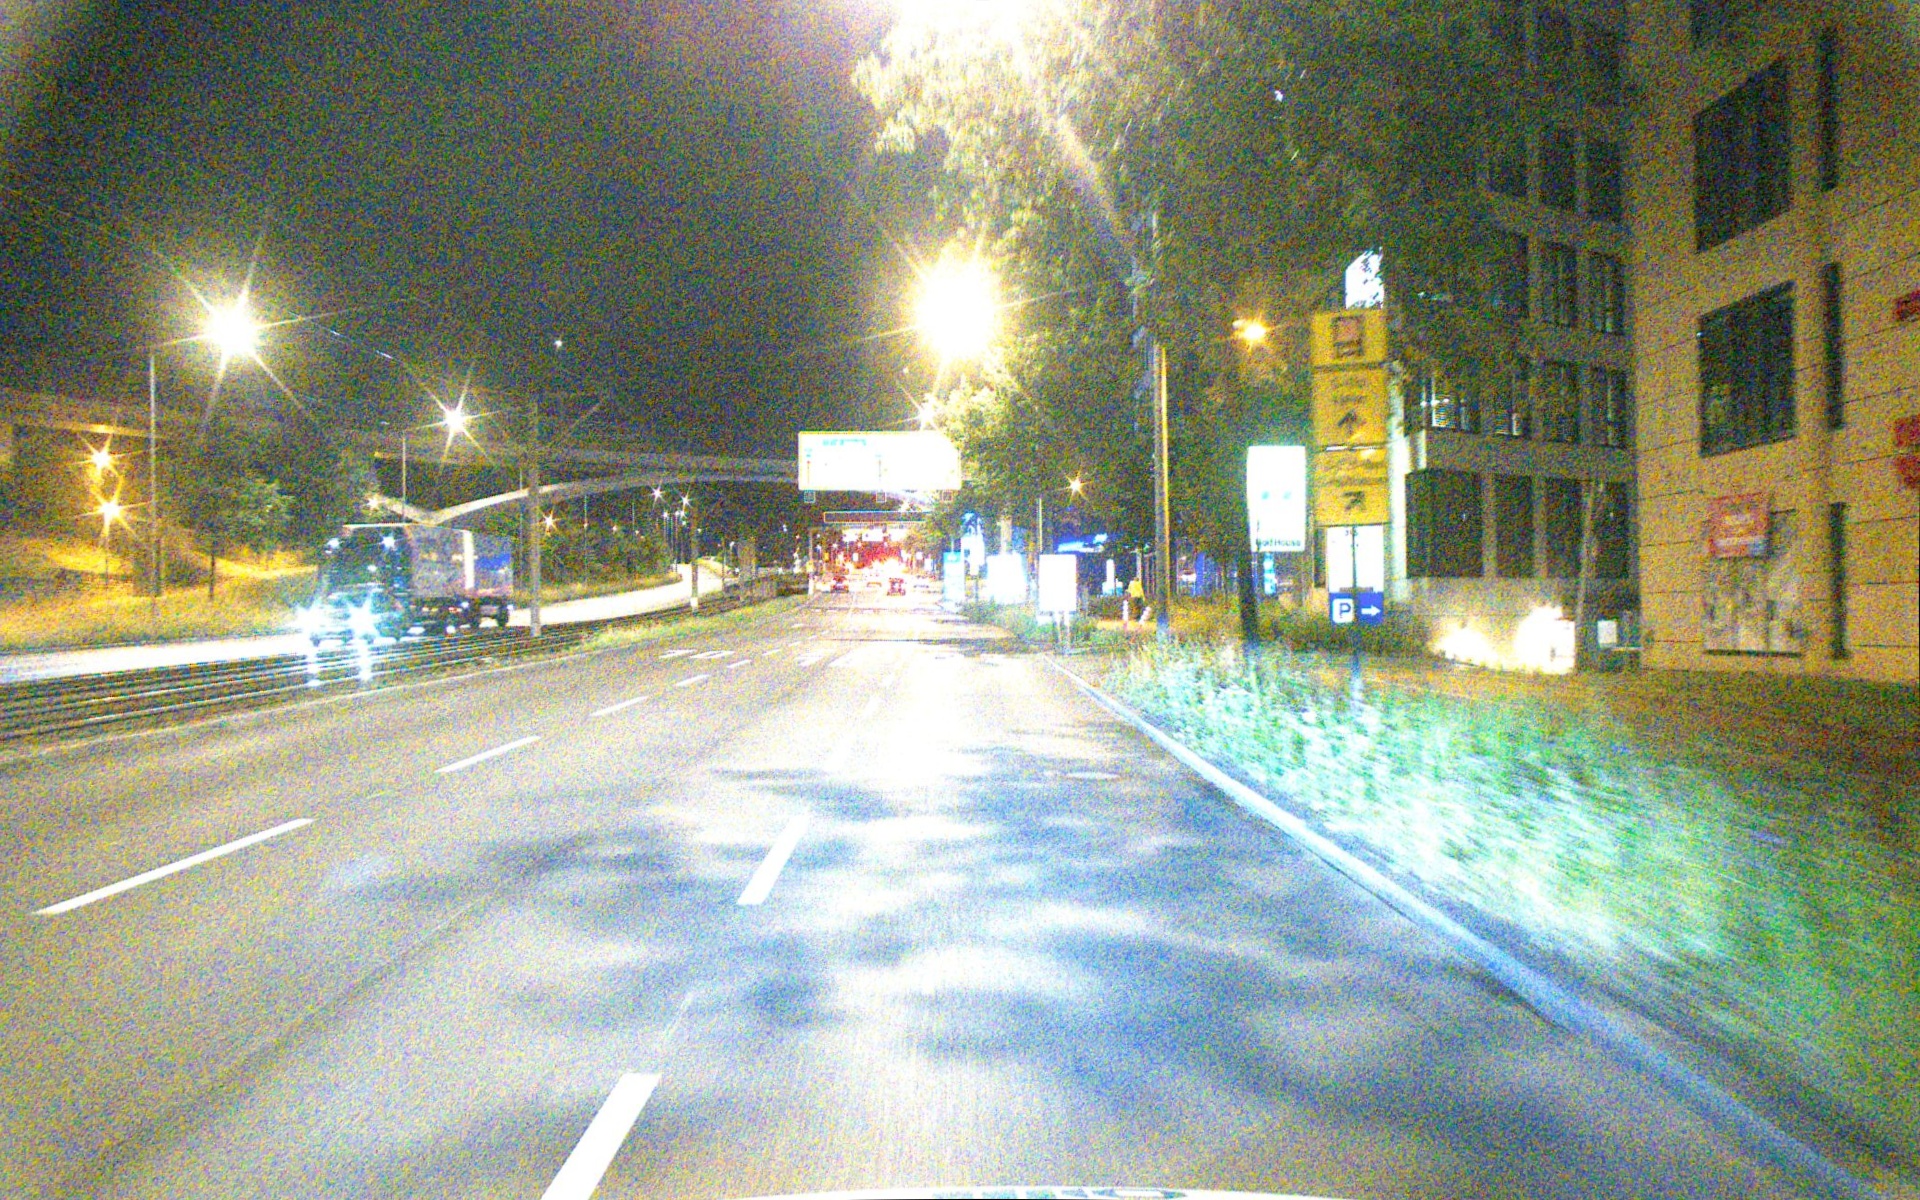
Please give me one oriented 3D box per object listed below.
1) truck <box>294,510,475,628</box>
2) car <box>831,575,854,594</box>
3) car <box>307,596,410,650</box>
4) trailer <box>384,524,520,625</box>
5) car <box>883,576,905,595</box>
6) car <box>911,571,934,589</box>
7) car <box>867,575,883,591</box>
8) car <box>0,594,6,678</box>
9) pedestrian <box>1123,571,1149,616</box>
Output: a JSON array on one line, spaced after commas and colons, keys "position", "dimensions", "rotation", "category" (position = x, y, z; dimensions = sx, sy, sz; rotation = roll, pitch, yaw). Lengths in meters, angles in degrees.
[{"position": [-21.461, -1.078, 62.551], "dimensions": [3.608, 4.023, 10.415], "rotation": [1, 0, -3], "category": "truck"}, {"position": [-11.340, -1.475, 159.806], "dimensions": [1.928, 1.741, 3.999], "rotation": [1, 0, -1], "category": "car"}, {"position": [-17.759, 0.657, 49.006], "dimensions": [1.768, 1.525, 4.082], "rotation": [0, 0, -4], "category": "car"}, {"position": [-21.948, -1.040, 72.036], "dimensions": [3.622, 4.059, 8.391], "rotation": [1, 0, -3], "category": "trailer"}, {"position": [-6.155, -1.357, 154.735], "dimensions": [1.928, 1.741, 3.999], "rotation": [1, 0, -1], "category": "car"}, {"position": [-4.291, -2.292, 191.240], "dimensions": [2.597, 2.049, 5.298], "rotation": [1, 0, -1], "category": "car"}, {"position": [-9.885, -1.985, 191.838], "dimensions": [1.746, 1.741, 3.999], "rotation": [1, 0, -1], "category": "car"}, {"position": [-19.651, 0.690, 30.594], "dimensions": [1.690, 1.654, 3.961], "rotation": [1, 0, -1], "category": "car"}, {"position": [6.879, -0.253, 64.693], "dimensions": [0.835, 1.737, 0.957], "rotation": [2, 0, -3], "category": "pedestrian"}]
